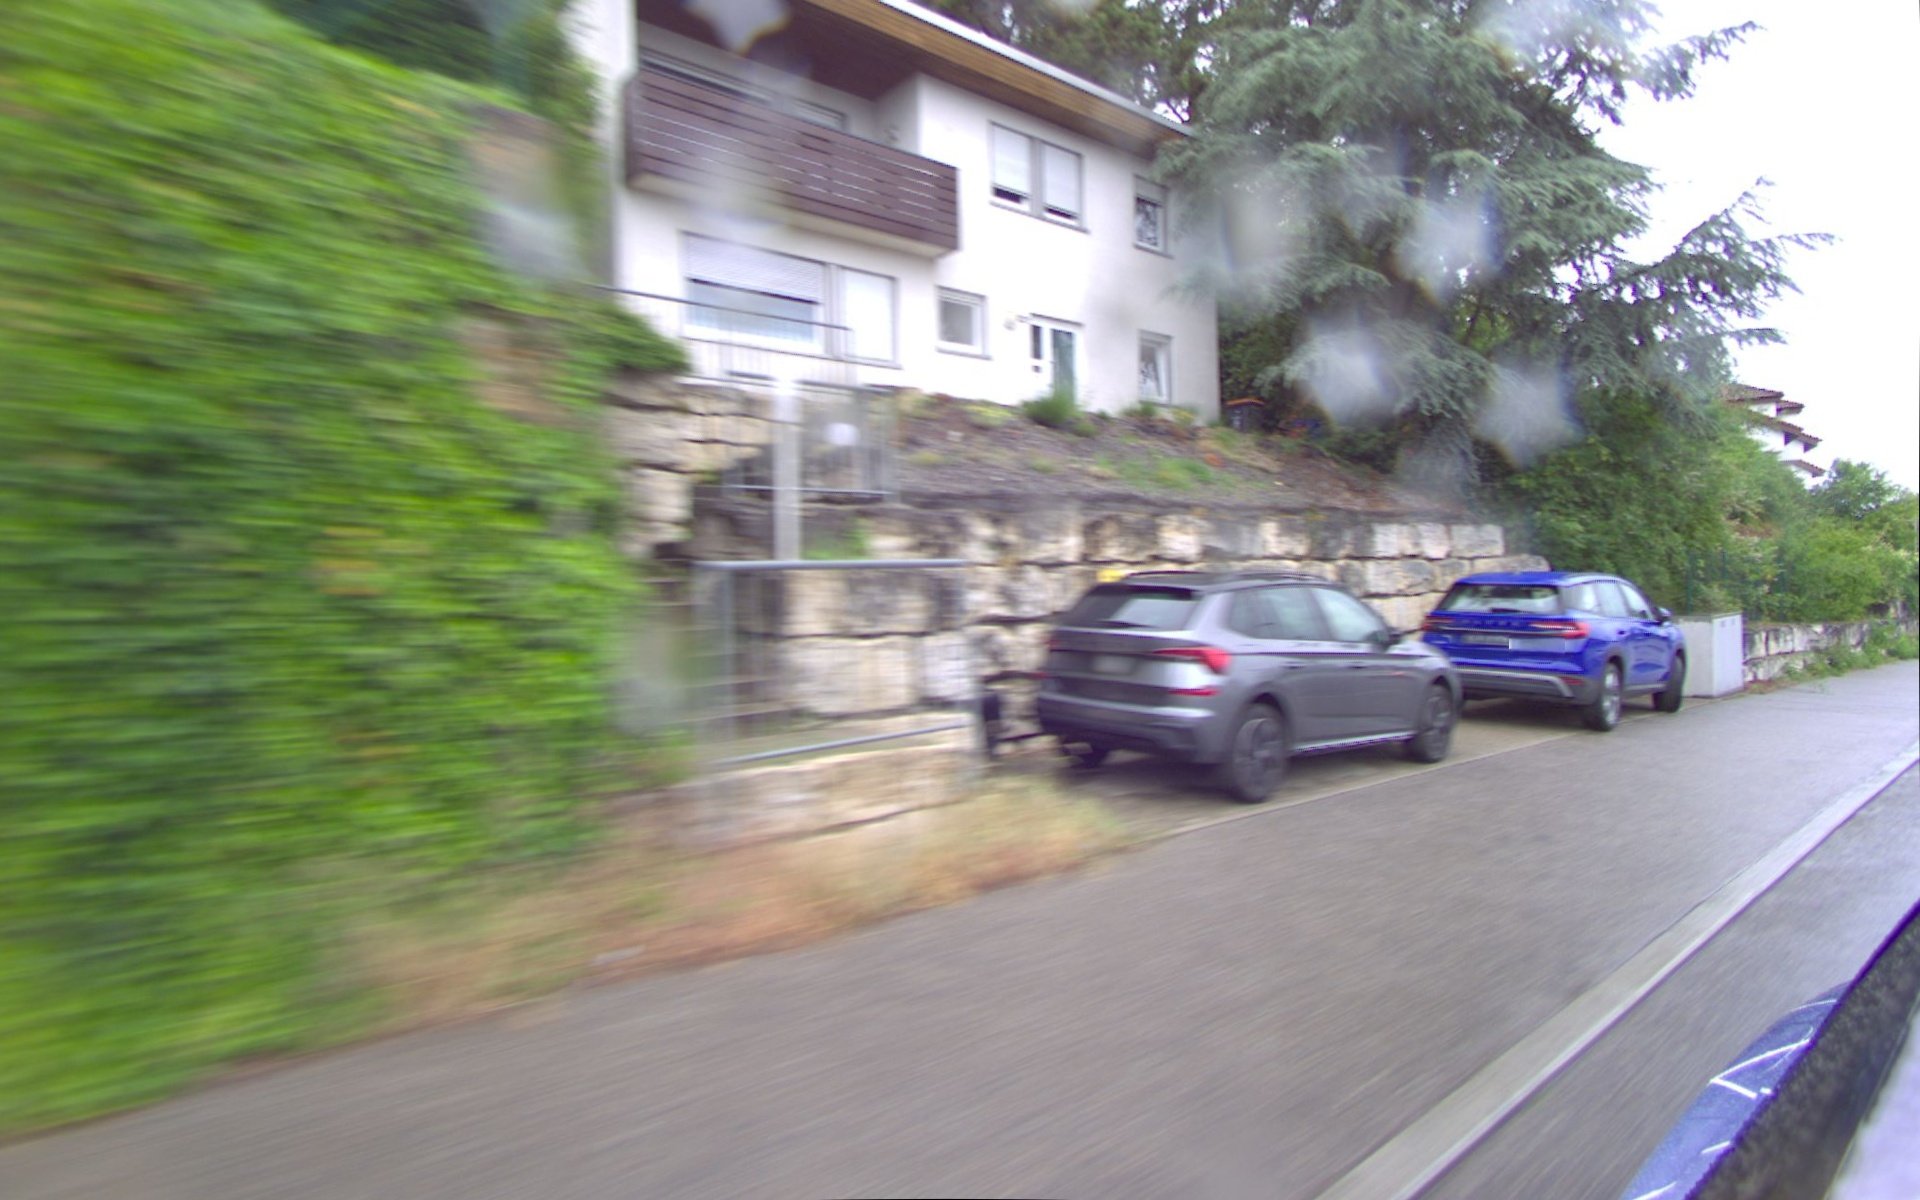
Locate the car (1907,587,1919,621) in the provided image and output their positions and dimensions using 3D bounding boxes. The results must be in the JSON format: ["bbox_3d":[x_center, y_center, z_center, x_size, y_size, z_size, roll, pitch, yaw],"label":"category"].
[{"bbox_3d":[43.069,0.200,44.516,1.702,1.472,3.965,3,2,38],"label":"car"}]

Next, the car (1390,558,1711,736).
[{"bbox_3d":[7.108,0.409,11.981,4.467,1.691,1.997,0,3,-42],"label":"car"}]

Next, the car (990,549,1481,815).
[{"bbox_3d":[2.319,0.451,8.036,3.939,1.582,1.814,0,3,-40],"label":"car"}]
